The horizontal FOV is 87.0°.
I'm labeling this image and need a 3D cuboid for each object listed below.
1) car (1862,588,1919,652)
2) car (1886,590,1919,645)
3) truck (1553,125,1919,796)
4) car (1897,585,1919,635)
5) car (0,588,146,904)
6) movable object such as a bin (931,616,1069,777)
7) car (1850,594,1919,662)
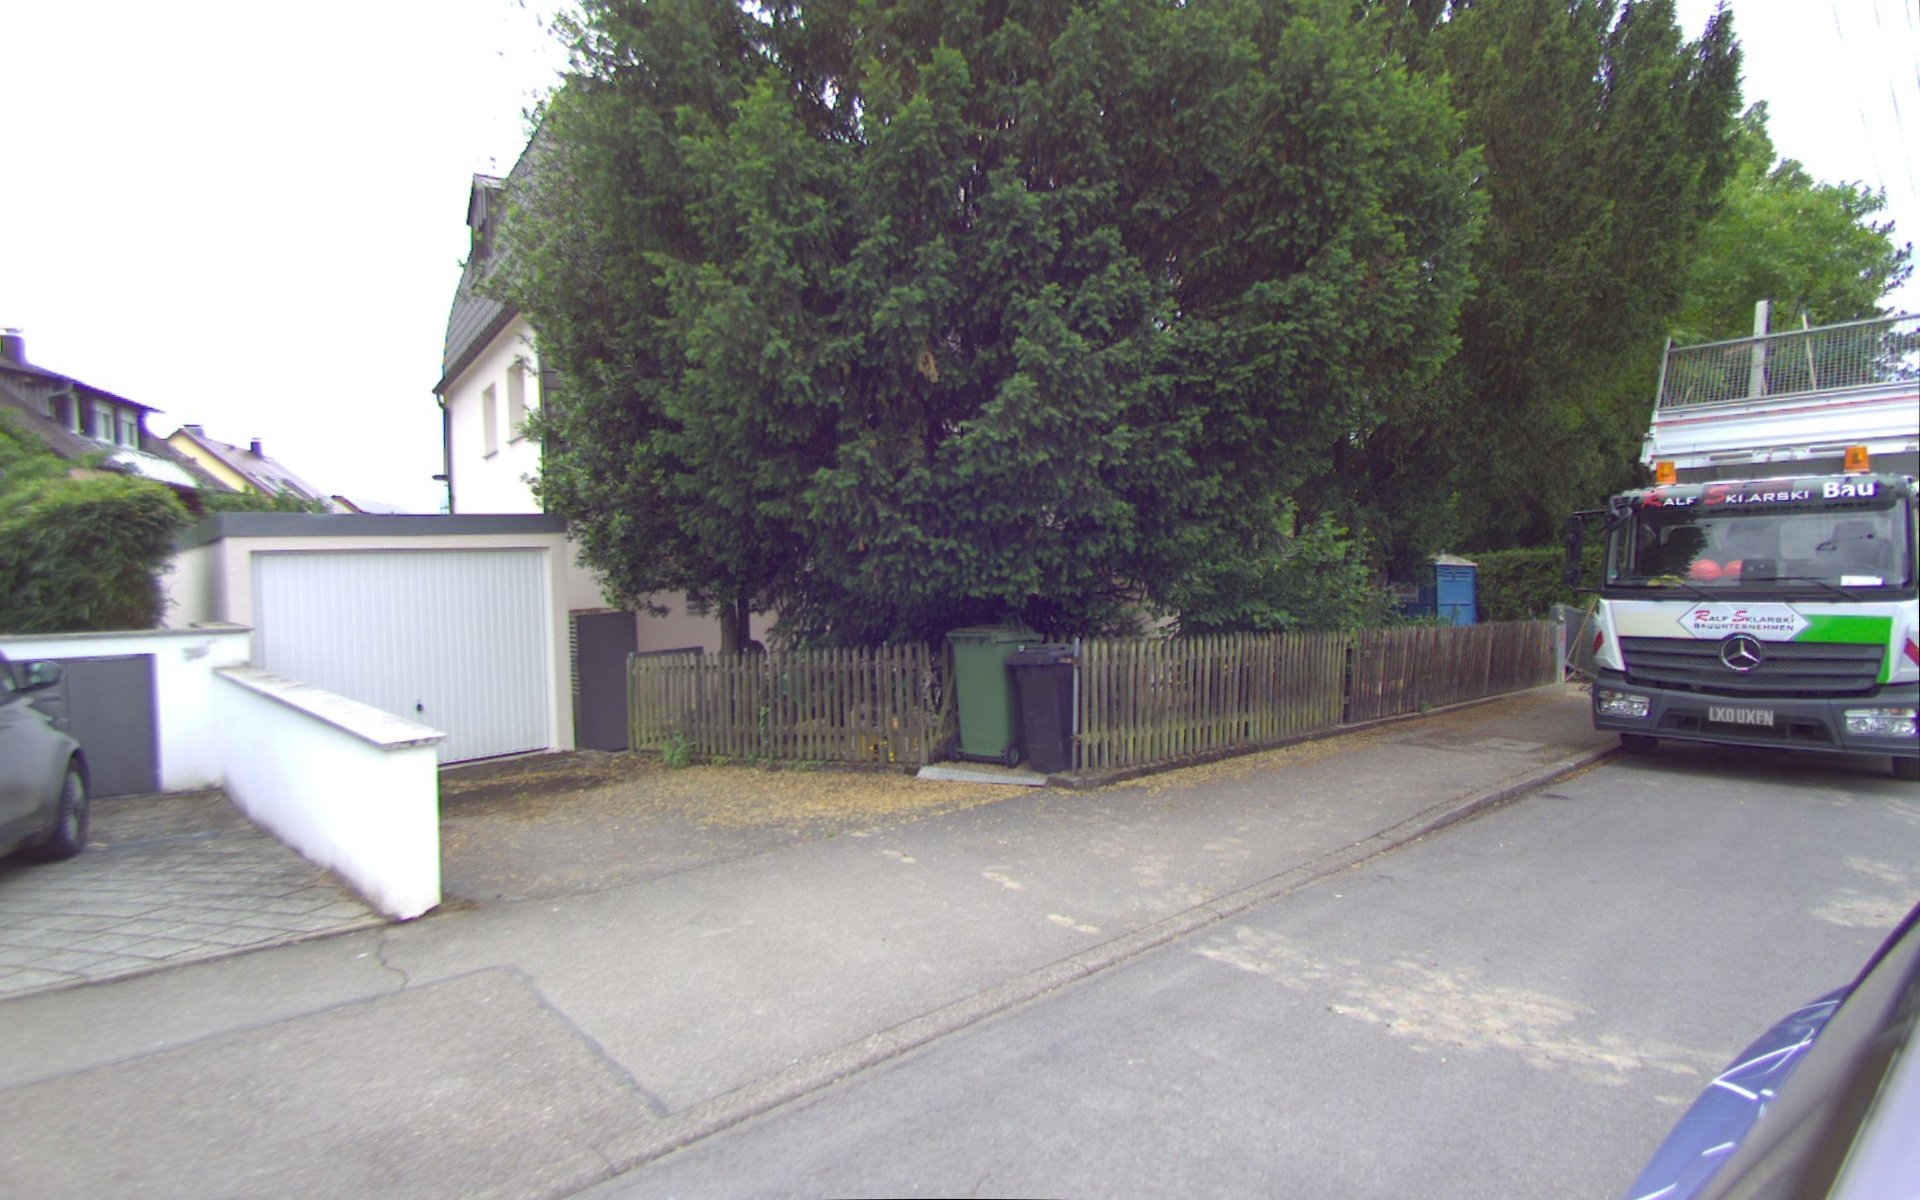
[{"bbox_3d":[25.679,0.500,27.393,1.698,1.590,4.240,2,2,44],"label":"car"},{"bbox_3d":[29.728,0.498,31.133,1.756,1.626,4.505,-1,0,42],"label":"car"},{"bbox_3d":[8.694,-1.025,10.507,7.067,4.809,2.526,0,0,-44],"label":"truck"},{"bbox_3d":[37.323,0.378,38.927,4.089,1.853,1.683,0,-1,-45],"label":"car"},{"bbox_3d":[-5.708,0.765,5.097,1.753,1.491,4.003,-2,-2,-28],"label":"car"},{"bbox_3d":[0.318,0.754,8.006,0.687,1.170,0.756,-8,-4,37],"label":"movable object such as a bin"},{"bbox_3d":[22.165,0.598,23.692,4.584,1.442,1.653,-1,0,-44],"label":"car"}]
